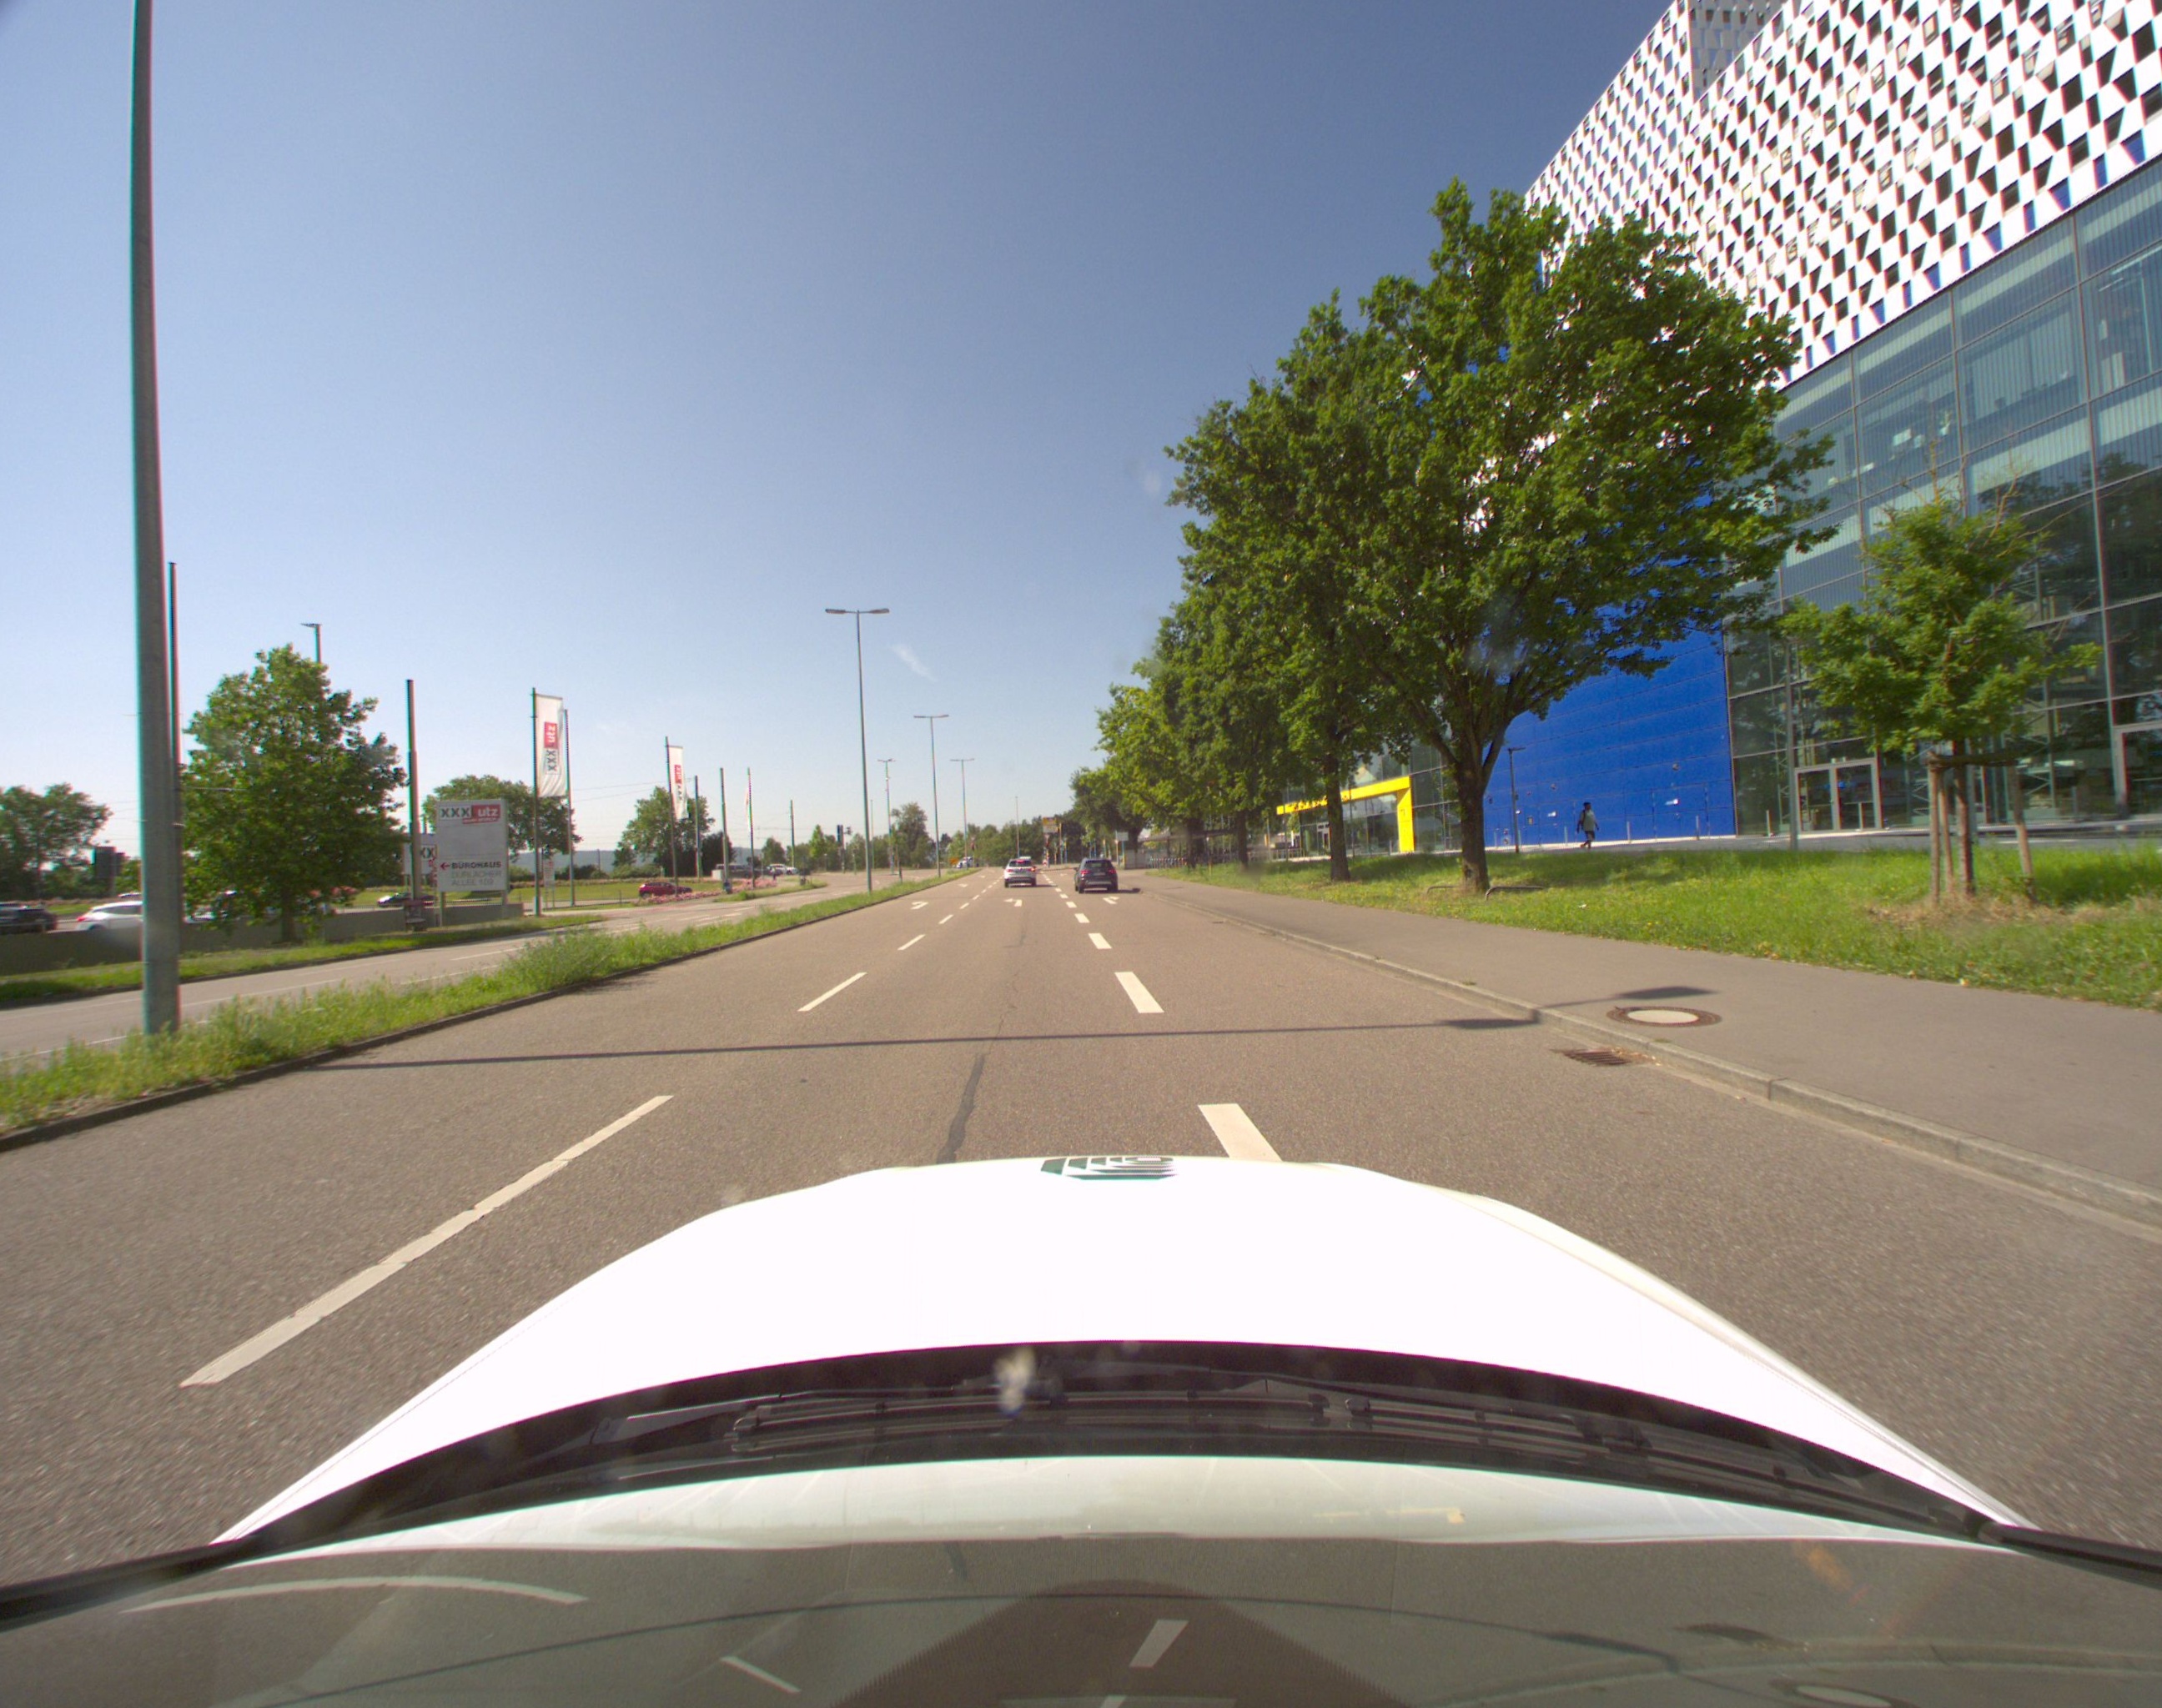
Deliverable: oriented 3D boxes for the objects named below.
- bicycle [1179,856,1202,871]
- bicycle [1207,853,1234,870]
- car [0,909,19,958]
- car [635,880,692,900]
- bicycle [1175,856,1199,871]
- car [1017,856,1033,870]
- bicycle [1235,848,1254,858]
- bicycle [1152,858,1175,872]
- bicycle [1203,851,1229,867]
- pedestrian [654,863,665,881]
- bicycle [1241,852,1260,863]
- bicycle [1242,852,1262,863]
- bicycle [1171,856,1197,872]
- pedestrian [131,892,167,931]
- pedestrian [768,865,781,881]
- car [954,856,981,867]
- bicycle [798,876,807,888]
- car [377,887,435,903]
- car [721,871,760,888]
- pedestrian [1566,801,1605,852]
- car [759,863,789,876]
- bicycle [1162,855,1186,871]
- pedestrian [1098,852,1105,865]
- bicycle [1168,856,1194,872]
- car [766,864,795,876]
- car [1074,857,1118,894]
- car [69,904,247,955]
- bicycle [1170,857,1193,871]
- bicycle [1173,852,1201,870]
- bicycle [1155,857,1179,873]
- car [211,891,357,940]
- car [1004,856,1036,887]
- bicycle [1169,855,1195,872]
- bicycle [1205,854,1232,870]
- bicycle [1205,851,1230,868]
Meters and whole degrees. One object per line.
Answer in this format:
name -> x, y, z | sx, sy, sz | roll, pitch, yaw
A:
bicycle -> 8.667, 0.766, 64.385 | 1.755, 1.096, 0.451 | -3, 0, -5
bicycle -> 9.662, 0.525, 56.329 | 1.755, 1.096, 0.451 | -3, 0, -5
car -> -46.945, 3.433, 32.942 | 4.666, 2.013, 2.025 | -3, 0, -8
car -> -37.638, 3.236, 73.453 | 4.182, 1.605, 1.821 | -2, -2, -9
bicycle -> 8.530, 0.764, 65.741 | 1.825, 1.096, 0.451 | -3, 0, -5
car -> -6.311, 1.000, 91.807 | 1.738, 1.448, 4.382 | -2, 0, -4
bicycle -> 14.492, -0.081, 72.147 | 1.557, 0.843, 0.433 | -3, 0, -1
bicycle -> 6.652, 0.878, 65.715 | 1.755, 1.096, 0.451 | -3, 0, -5
bicycle -> 9.689, 0.350, 58.472 | 1.755, 1.096, 0.451 | -3, 0, -5
pedestrian -> -47.285, 1.986, 91.351 | 0.713, 1.972, 0.918 | -3, -2, 0
bicycle -> 14.663, 0.315, 70.409 | 1.558, 0.843, 0.433 | -3, 0, -3
bicycle -> 14.630, 0.295, 69.582 | 1.558, 0.843, 0.433 | -3, 0, -3
bicycle -> 7.364, 0.707, 58.389 | 1.755, 1.096, 0.451 | -3, 0, -5
pedestrian -> -47.304, 2.906, 41.334 | 0.852, 1.857, 0.751 | -3, 0, -4
pedestrian -> -33.806, 2.058, 89.838 | 0.835, 1.707, 0.908 | -3, 0, 8
car -> -16.709, 1.113, 119.974 | 1.777, 1.547, 4.112 | -3, -1, 28
bicycle -> -24.626, 2.489, 72.076 | 0.330, 1.023, 1.639 | -4, -2, -7
car -> -63.182, 3.809, 76.279 | 3.841, 1.330, 1.726 | -2, -2, -6
car -> -40.620, 3.025, 97.225 | 3.955, 1.925, 1.825 | -1, 1, 17
pedestrian -> 16.748, -0.902, 27.027 | 0.687, 1.612, 0.769 | -3, 0, -8
car -> -39.521, 2.036, 104.920 | 3.382, 1.500, 1.406 | -2, -2, -7
bicycle -> 7.093, 0.698, 62.130 | 1.755, 1.096, 0.451 | -3, 0, -5
pedestrian -> 2.648, 0.576, 104.450 | 0.768, 1.510, 1.009 | -3, 1, 7
bicycle -> 7.342, 0.714, 59.904 | 1.755, 1.096, 0.451 | -3, 0, -5
car -> -40.052, 2.140, 108.652 | 3.341, 1.500, 1.405 | -2, -2, -8
car -> 0.623, 0.919, 36.240 | 1.666, 1.523, 3.373 | -2, 0, -3
car -> -35.624, 2.881, 31.549 | 4.407, 1.627, 1.867 | -3, -2, -7
bicycle -> 8.263, 0.827, 66.989 | 1.755, 1.096, 0.451 | -3, 0, -5
bicycle -> 7.289, 0.482, 56.075 | 1.755, 1.096, 0.451 | -3, -1, -4
bicycle -> 6.700, 0.866, 63.539 | 1.755, 1.096, 0.451 | -3, 0, -5
car -> -35.857, 2.748, 36.728 | 4.405, 1.842, 1.942 | -3, -1, -5
car -> -3.344, 0.943, 45.062 | 1.627, 1.498, 3.866 | -2, 2, -3
bicycle -> 7.374, 0.677, 59.329 | 1.755, 1.096, 0.451 | -3, 0, -5
bicycle -> 9.689, 0.564, 57.517 | 1.755, 1.096, 0.451 | -3, 0, -5
bicycle -> 9.994, 0.410, 59.622 | 1.755, 1.096, 0.451 | -3, 0, -5
